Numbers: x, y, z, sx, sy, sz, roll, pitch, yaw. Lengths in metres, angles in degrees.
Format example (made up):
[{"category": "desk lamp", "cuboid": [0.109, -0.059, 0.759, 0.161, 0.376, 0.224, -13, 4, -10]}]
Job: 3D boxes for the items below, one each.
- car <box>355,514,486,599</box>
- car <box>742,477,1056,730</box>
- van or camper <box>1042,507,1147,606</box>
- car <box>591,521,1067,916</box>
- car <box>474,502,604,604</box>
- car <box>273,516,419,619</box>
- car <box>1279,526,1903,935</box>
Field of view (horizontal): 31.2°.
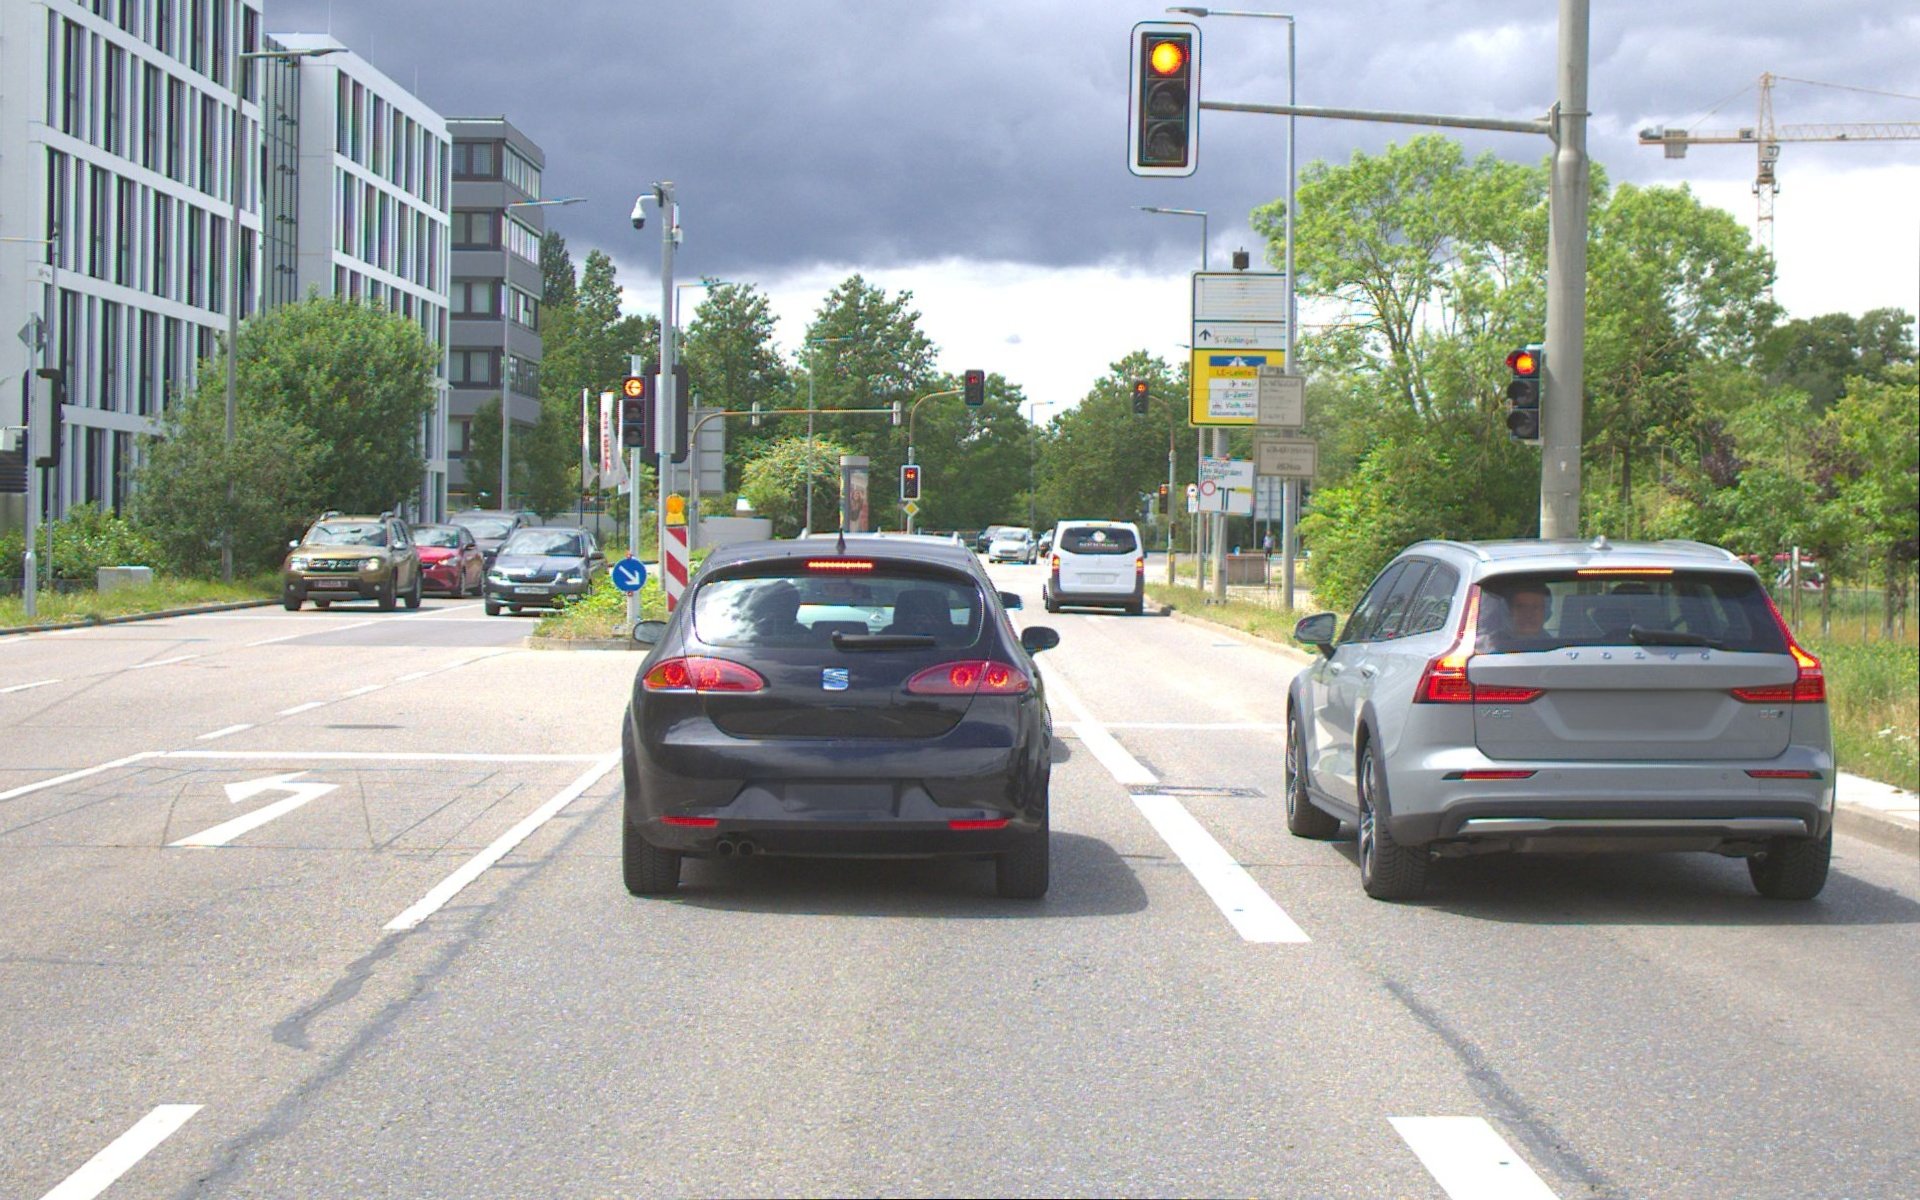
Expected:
[{"category": "car", "cuboid": [-10.567, -0.845, 67.563, 1.776, 1.606, 4.000, 0, 1, 2]}, {"category": "car", "cuboid": [-0.447, -0.021, 24.186, 1.983, 1.585, 4.226, 1, 1, -2]}, {"category": "van or camper", "cuboid": [2.666, -0.864, 68.859, 1.899, 1.919, 4.000, 0, 1, -1]}, {"category": "car", "cuboid": [-0.442, 0.428, 15.126, 1.748, 1.478, 4.000, 1, 1, 3]}, {"category": "car", "cuboid": [-6.894, -0.798, 56.599, 1.668, 1.519, 4.008, -1, 2, -1]}, {"category": "car", "cuboid": [-10.261, -0.563, 57.694, 1.751, 1.625, 4.000, -1, 1, -1]}, {"category": "car", "cuboid": [2.585, 0.471, 15.151, 1.958, 1.520, 4.340, -1, 1, 0]}]
